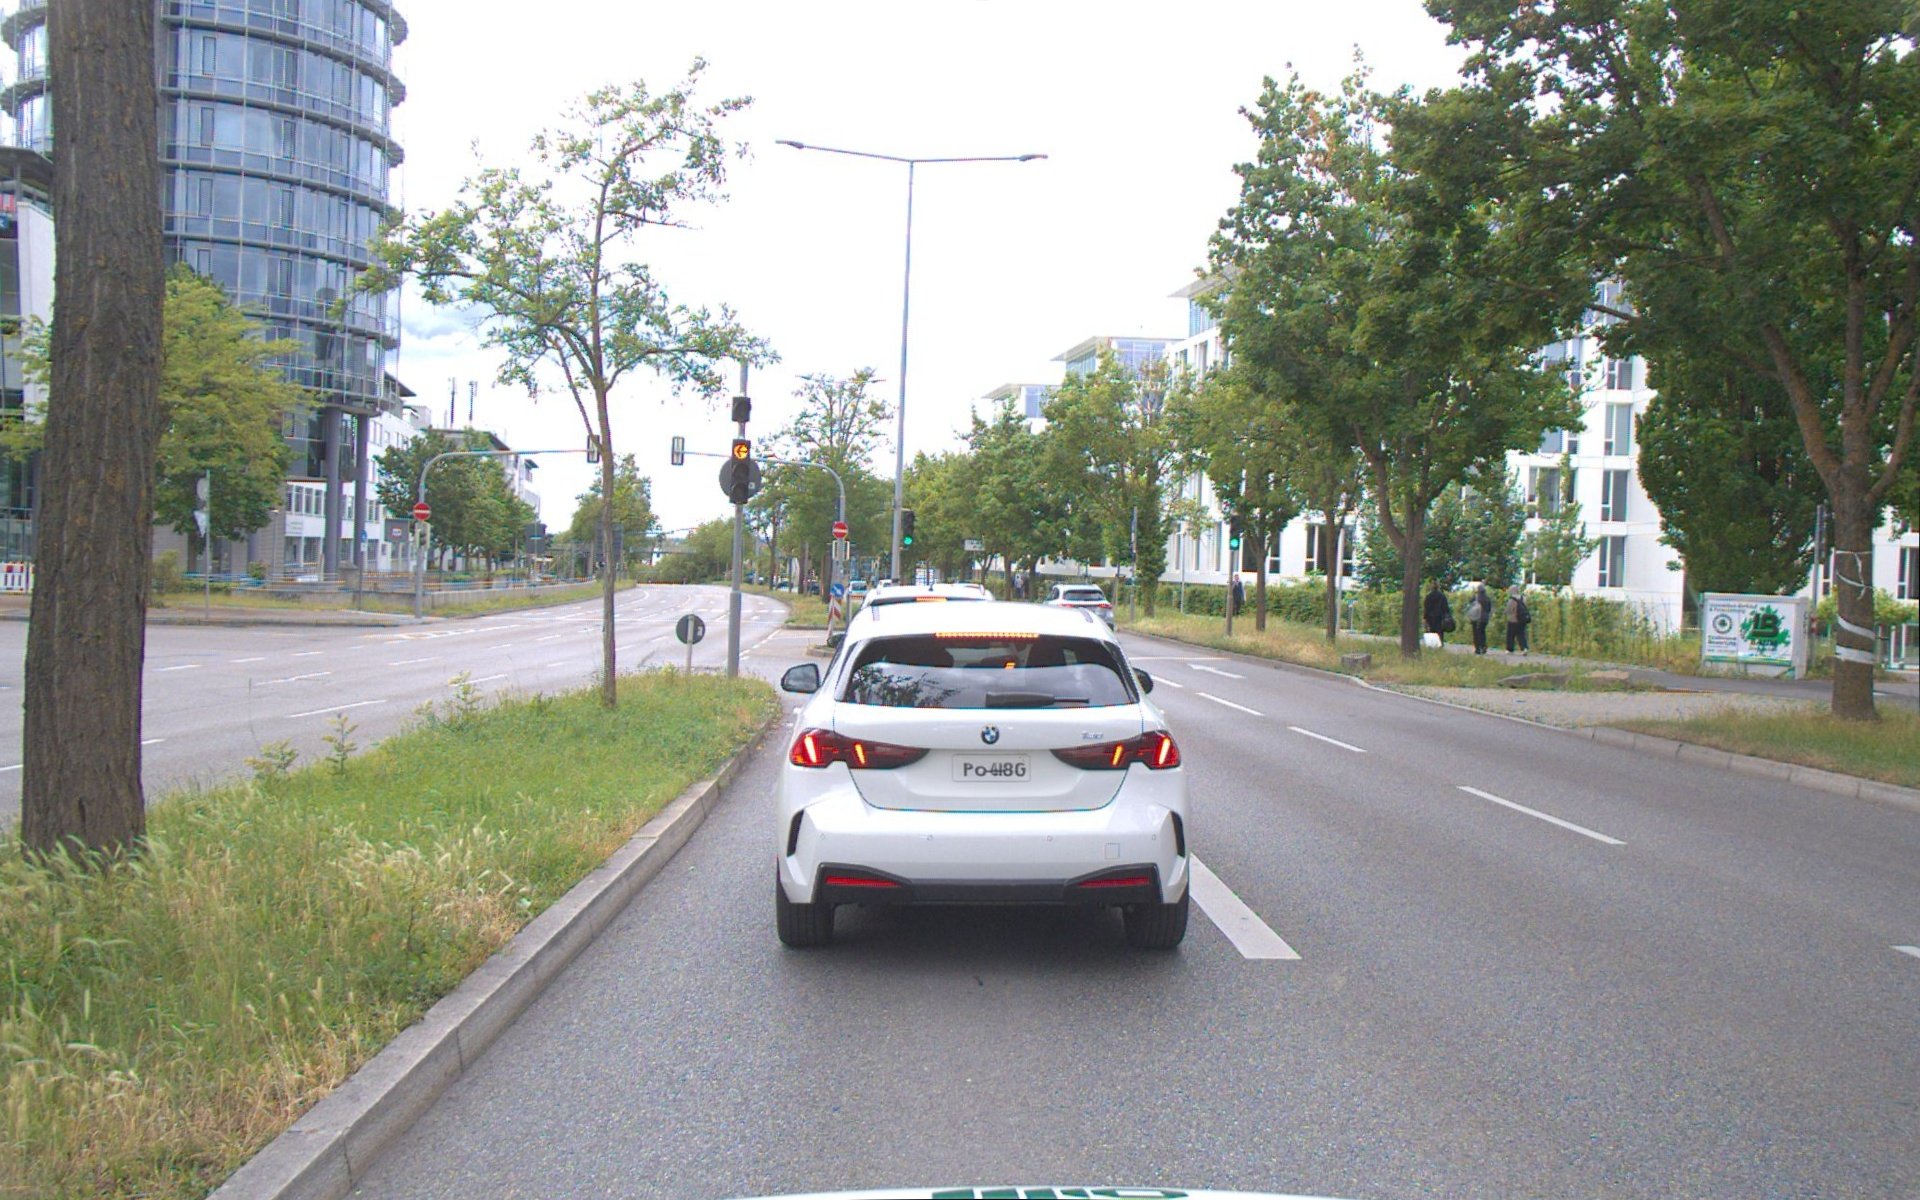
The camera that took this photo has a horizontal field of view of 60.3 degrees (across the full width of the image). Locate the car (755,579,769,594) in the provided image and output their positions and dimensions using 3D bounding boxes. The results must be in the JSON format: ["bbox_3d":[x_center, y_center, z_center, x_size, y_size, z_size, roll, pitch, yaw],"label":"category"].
[{"bbox_3d":[-27.323,-1.829,227.974,1.803,2.049,3.994,1,0,-7],"label":"car"}]

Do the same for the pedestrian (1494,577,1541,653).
[{"bbox_3d":[12.839,0.347,38.118,0.751,1.715,0.883,1,-1,-2],"label":"pedestrian"}]

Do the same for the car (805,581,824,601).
[{"bbox_3d":[-12.797,-0.813,145.902,1.570,1.695,3.997,1,0,-4],"label":"car"}]

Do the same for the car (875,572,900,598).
[{"bbox_3d":[-5.004,-1.029,114.283,1.570,1.695,3.997,1,0,-4],"label":"car"}]

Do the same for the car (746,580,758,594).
[{"bbox_3d":[-31.473,-1.962,250.107,1.803,2.049,3.994,1,0,-7],"label":"car"}]

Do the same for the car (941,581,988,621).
[{"bbox_3d":[0.180,0.030,74.932,1.663,1.747,3.994,1,0,-7],"label":"car"}]

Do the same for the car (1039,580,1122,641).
[{"bbox_3d":[3.476,0.292,48.454,1.954,1.699,3.998,0,0,-3],"label":"car"}]

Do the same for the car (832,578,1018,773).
[{"bbox_3d":[-0.323,0.626,15.846,1.518,1.596,3.999,1,0,-1],"label":"car"}]

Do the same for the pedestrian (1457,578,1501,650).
[{"bbox_3d":[11.914,0.331,37.987,0.685,1.623,0.883,1,-1,-2],"label":"pedestrian"}]

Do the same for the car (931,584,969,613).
[{"bbox_3d":[-0.566,-0.082,88.839,1.660,1.512,3.689,1,0,-6],"label":"car"}]

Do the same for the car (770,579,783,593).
[{"bbox_3d":[-27.545,-2.112,248.209,1.803,2.049,3.994,1,0,-7],"label":"car"}]

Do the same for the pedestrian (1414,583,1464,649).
[{"bbox_3d":[11.015,0.363,38.071,0.773,1.473,1.111,1,0,-2],"label":"pedestrian"}]

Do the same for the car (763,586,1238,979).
[{"bbox_3d":[0.130,0.693,8.334,1.785,1.463,3.999,1,0,-1],"label":"car"}]

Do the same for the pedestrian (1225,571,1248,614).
[{"bbox_3d":[10.588,-0.286,63.261,0.726,1.601,0.674,1,-1,-2],"label":"pedestrian"}]

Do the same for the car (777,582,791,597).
[{"bbox_3d":[-23.663,-1.422,222.801,1.803,2.049,3.994,1,0,-7],"label":"car"}]

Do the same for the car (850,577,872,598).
[{"bbox_3d":[-8.029,-1.013,134.168,1.705,1.695,3.997,1,0,-4],"label":"car"}]
